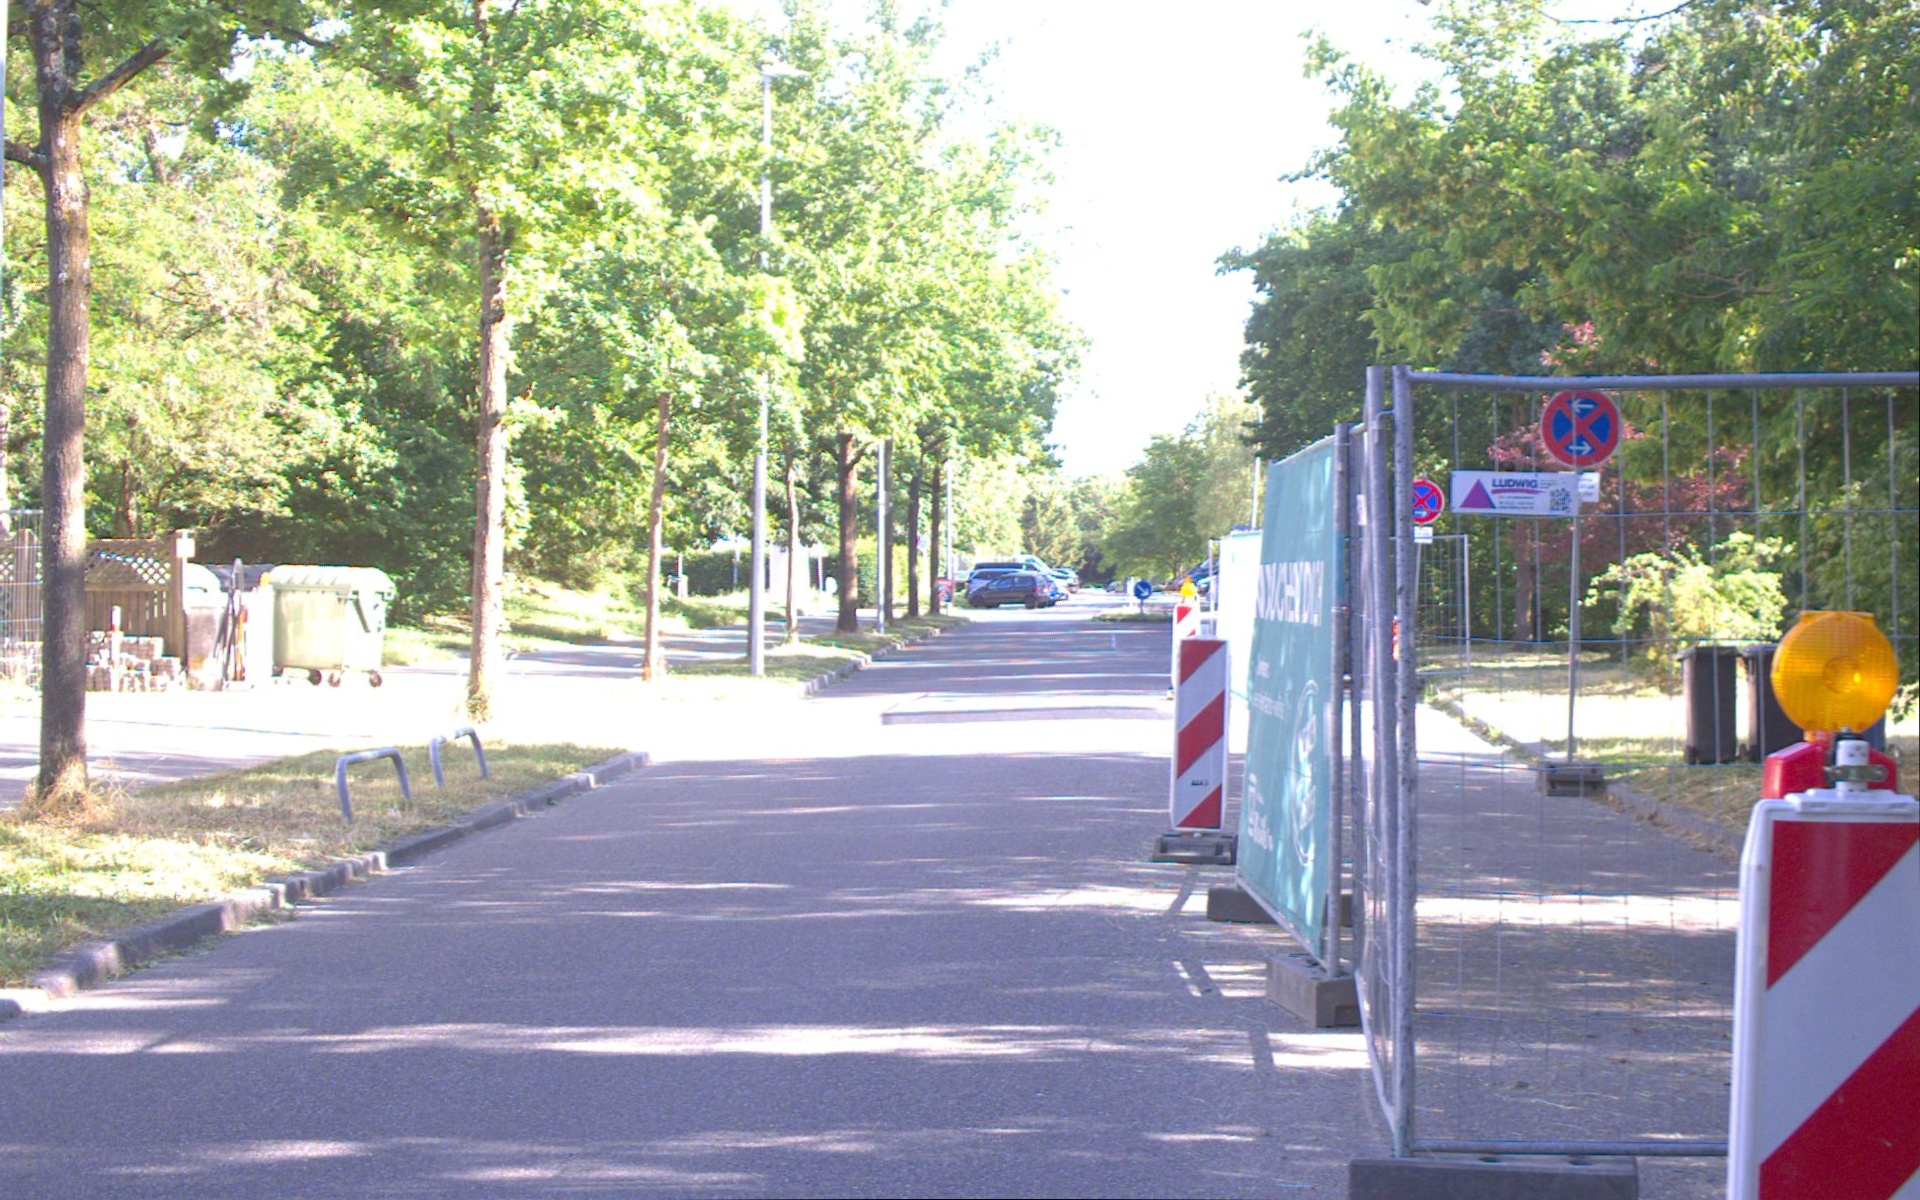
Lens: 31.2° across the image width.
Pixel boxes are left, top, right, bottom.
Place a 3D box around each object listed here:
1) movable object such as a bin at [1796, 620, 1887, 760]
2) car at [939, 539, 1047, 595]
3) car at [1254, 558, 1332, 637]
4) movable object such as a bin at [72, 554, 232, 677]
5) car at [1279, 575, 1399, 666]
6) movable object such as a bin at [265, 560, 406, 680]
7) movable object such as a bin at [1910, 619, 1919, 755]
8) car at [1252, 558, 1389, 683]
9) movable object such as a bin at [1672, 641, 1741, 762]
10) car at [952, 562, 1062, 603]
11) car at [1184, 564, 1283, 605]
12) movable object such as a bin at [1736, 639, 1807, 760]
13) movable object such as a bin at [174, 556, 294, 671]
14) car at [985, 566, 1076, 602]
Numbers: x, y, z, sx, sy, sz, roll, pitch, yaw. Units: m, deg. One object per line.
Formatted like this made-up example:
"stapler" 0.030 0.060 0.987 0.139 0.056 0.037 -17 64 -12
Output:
"movable object such as a bin" 6.468 0.656 25.249 0.519 0.996 0.608 -1 0 4
"car" 1.630 -1.642 171.436 5.199 2.612 2.294 2 1 -1
"car" 7.781 -0.074 80.523 1.623 1.767 3.668 2 1 3
"movable object such as a bin" -9.558 0.169 40.694 1.271 1.430 1.323 0 1 31
"car" 6.135 0.309 56.014 1.661 1.371 4.154 2 1 3
"movable object such as a bin" -7.578 0.231 41.758 1.270 1.430 1.180 0 0 20
"movable object such as a bin" 7.314 0.634 25.150 0.562 0.996 0.608 -1 0 4
"car" 5.201 0.270 49.229 1.810 1.645 4.419 2 1 7
"movable object such as a bin" 5.505 0.745 25.361 0.413 0.867 0.484 -1 0 4
"car" 2.006 -0.737 146.118 4.320 1.571 2.045 2 1 10
"car" 11.213 -0.642 140.996 3.840 1.571 1.688 2 1 10
"movable object such as a bin" 5.989 0.733 25.372 0.413 0.867 0.484 -1 0 4
"movable object such as a bin" -9.195 0.157 43.529 1.141 1.430 1.273 0 1 -30
"car" 3.329 -0.762 162.362 4.107 1.571 1.958 2 1 5
